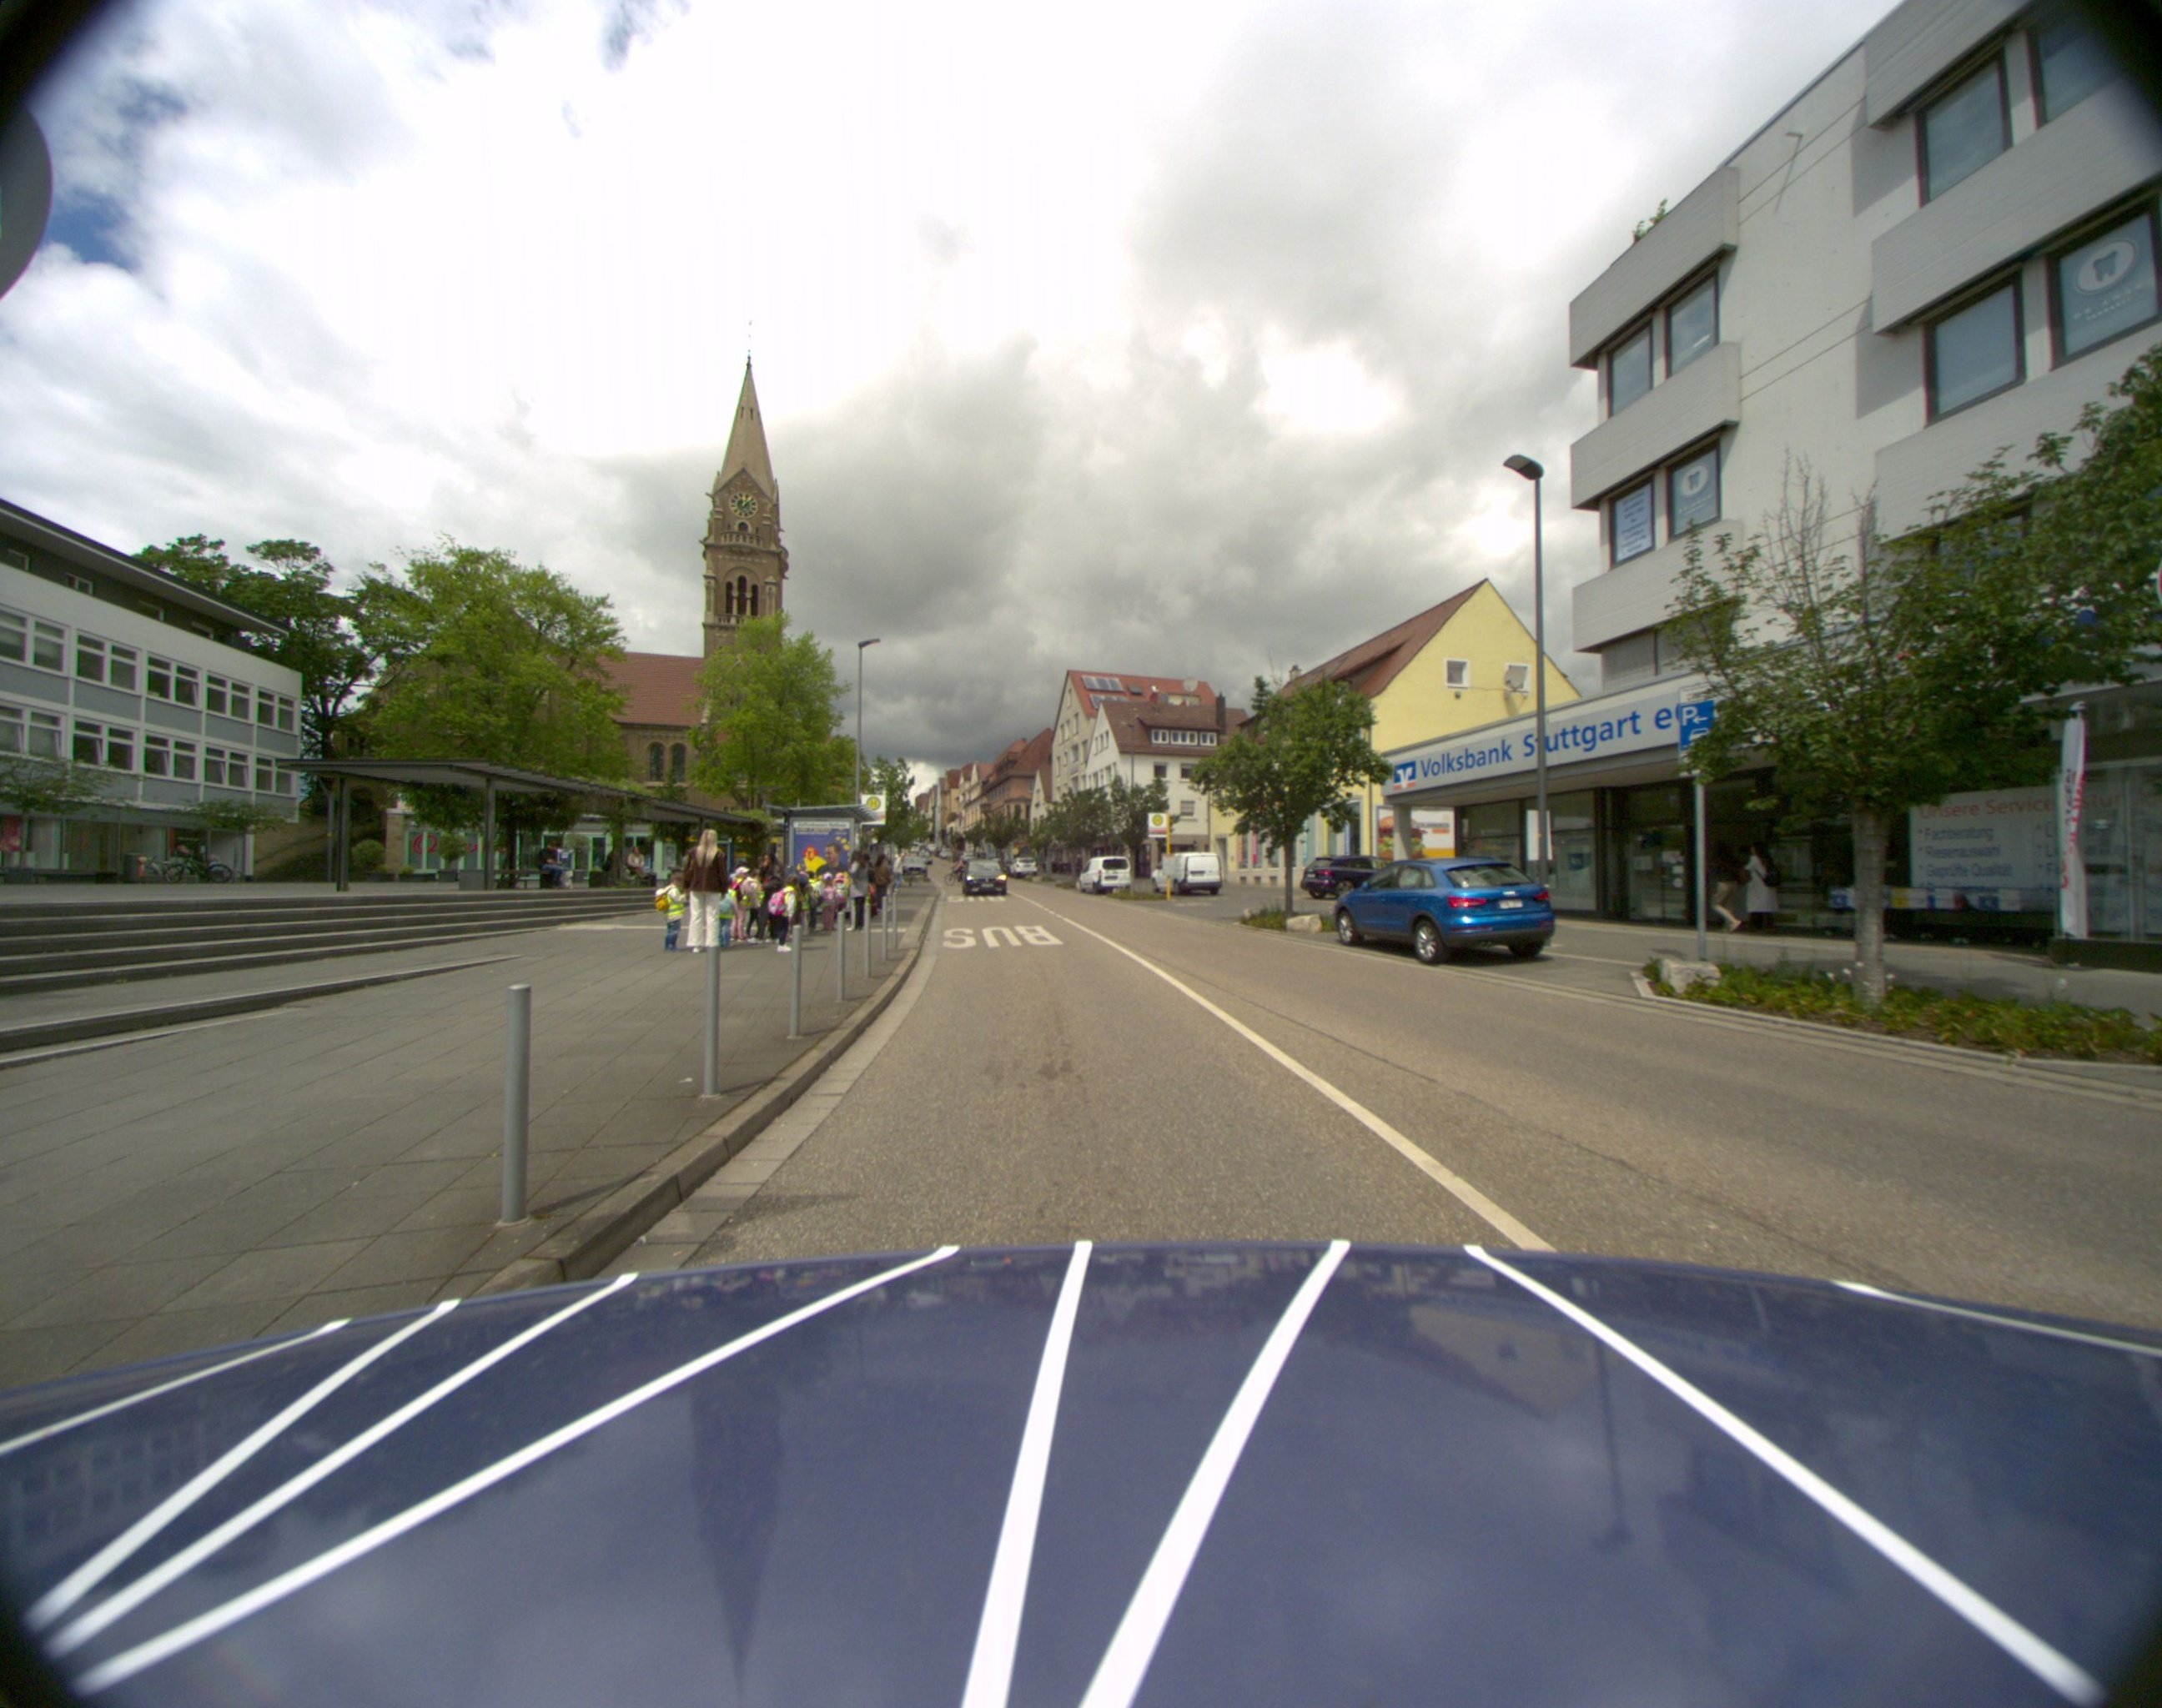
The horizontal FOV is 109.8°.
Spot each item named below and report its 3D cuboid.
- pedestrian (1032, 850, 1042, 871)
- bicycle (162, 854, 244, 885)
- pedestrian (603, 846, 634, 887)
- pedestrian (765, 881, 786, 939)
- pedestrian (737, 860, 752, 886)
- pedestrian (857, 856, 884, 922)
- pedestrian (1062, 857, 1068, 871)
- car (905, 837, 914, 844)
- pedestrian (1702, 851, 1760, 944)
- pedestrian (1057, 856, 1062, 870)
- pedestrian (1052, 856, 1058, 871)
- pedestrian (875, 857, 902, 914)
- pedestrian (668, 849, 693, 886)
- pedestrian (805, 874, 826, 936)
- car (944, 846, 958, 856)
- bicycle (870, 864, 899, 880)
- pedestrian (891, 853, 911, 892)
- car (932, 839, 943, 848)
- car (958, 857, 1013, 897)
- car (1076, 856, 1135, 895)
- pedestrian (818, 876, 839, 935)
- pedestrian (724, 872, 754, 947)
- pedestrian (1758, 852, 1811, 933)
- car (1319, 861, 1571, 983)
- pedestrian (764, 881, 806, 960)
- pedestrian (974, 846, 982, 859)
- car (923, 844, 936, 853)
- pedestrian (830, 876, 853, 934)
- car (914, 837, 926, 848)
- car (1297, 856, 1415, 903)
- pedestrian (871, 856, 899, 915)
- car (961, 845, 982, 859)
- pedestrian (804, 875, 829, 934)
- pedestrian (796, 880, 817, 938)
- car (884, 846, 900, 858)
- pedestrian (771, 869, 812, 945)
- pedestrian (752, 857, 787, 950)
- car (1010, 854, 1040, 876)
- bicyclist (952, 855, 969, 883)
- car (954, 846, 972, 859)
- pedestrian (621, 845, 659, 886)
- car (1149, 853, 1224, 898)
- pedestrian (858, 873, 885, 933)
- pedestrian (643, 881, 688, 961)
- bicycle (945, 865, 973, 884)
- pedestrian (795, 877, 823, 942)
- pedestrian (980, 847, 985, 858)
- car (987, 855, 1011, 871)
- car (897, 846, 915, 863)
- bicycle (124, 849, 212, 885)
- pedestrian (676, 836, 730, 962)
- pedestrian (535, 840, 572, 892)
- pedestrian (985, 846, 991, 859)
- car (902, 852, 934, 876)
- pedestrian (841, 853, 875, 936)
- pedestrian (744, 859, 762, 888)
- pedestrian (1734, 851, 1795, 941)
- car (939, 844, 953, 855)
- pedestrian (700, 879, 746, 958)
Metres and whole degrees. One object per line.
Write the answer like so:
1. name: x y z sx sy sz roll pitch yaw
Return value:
1. pedestrian: -3.846 0.562 66.451 0.663 1.751 0.776 -1 2 -17
2. bicycle: -34.804 0.638 30.160 2.032 1.135 0.686 4 -2 -43
3. pedestrian: -13.858 0.379 22.798 0.569 1.220 0.566 -1 0 -1
4. pedestrian: -5.666 1.031 14.101 0.251 1.062 0.252 2 0 0
5. pedestrian: -14.229 0.821 32.107 0.477 1.082 0.368 1 -2 -6
6. pedestrian: -5.057 0.835 18.238 0.502 1.557 0.496 1 0 -31
7. pedestrian: -1.438 0.889 67.191 0.428 1.242 0.566 -1 1 -15
8. car: -39.541 -3.066 174.854 1.688 1.492 4.146 1 2 -16
9. pedestrian: 11.284 0.733 13.206 0.643 1.557 0.588 1 0 29
10. pedestrian: -1.939 0.820 68.621 0.396 1.242 0.499 -1 1 -15
11. pedestrian: -2.258 0.802 67.009 0.423 1.292 0.453 -1 1 -15
12. pedestrian: -5.292 0.848 20.932 0.513 1.540 0.488 1 0 16
13. pedestrian: -14.237 0.478 27.013 0.626 1.300 0.546 1 0 -6
14. pedestrian: -5.124 0.985 14.680 0.250 1.167 0.253 2 0 38
15. car: -19.041 -0.428 111.156 1.734 1.423 3.497 0 2 -16
16. bicycle: -12.735 1.149 49.273 1.734 0.990 0.345 1 0 -19
17. pedestrian: -7.852 0.798 33.194 0.686 1.672 0.714 0 0 0
18. car: -25.578 -1.929 135.287 1.692 1.516 3.523 0 2 -16
19. car: -4.353 1.002 34.307 1.897 1.516 3.729 -1 2 -16
20. car: 1.081 0.952 35.917 1.662 1.662 4.345 -1 0 -14
21. pedestrian: -4.986 1.010 14.996 0.270 1.154 0.265 2 0 41
22. pedestrian: -5.763 0.933 12.810 0.324 1.230 0.334 2 0 -7
23. pedestrian: 15.153 0.828 16.376 0.645 1.694 0.586 1 -2 -20
24. car: 5.832 0.971 12.872 1.700 1.590 4.328 -3 0 -8
25. pedestrian: -4.565 1.014 11.714 0.477 1.165 0.389 2 0 -39
26. pedestrian: -13.417 -0.153 98.530 0.874 1.657 0.905 -1 2 -18
27. car: -22.984 -0.869 115.092 1.613 1.380 3.624 1 0 -14
28. pedestrian: -4.828 1.022 15.309 0.297 1.145 0.294 2 0 38
29. car: -28.449 -1.982 133.967 1.753 1.792 4.205 2 1 -15
30. car: 9.849 0.885 27.300 3.640 1.549 1.666 -1 1 -12
31. pedestrian: -5.257 0.828 20.374 0.542 1.540 0.487 1 0 34
32. car: -13.126 -0.286 91.089 1.732 1.564 4.446 0 2 -18
33. pedestrian: -5.292 1.005 15.191 0.321 1.145 0.319 2 0 40
34. pedestrian: -5.193 1.034 14.357 0.252 1.062 0.251 2 0 6
35. car: -26.506 -0.319 106.446 1.819 1.439 3.938 3 1 -17
36. pedestrian: -5.191 0.941 13.631 0.434 1.296 0.597 2 1 -44
37. pedestrian: -5.169 0.809 12.627 0.390 1.508 0.389 2 0 -4
38. car: -4.441 0.842 59.595 1.671 1.637 4.128 -1 1 -13
39. bicyclist: -7.262 0.918 45.789 0.508 1.684 0.780 0 -3 45
40. car: -15.280 -0.167 98.202 1.671 1.518 3.956 -2 2 -18
41. pedestrian: -13.724 0.361 23.663 0.769 1.262 0.677 -1 0 23
42. car: 4.573 0.876 33.500 1.762 1.803 4.471 -2 1 -13
43. pedestrian: -4.358 1.017 15.803 0.403 1.219 0.388 1 0 12
44. pedestrian: -6.124 0.980 11.215 0.440 1.141 0.383 2 0 -7
45. bicycle: -7.331 1.240 45.753 1.658 1.081 0.412 4 2 -44
46. pedestrian: -5.040 1.019 14.057 0.336 1.160 0.350 2 1 -42
47. pedestrian: -12.585 -0.217 97.268 0.497 1.469 0.527 -1 2 -18
48. car: -8.126 0.828 75.027 1.663 1.384 4.436 0 2 -15
49. car: -20.784 0.054 90.147 1.892 1.837 5.023 1 2 -11
50. bicycle: -34.498 0.515 28.750 2.032 1.299 0.686 3 -2 -43
51. pedestrian: -5.613 0.658 11.307 0.541 1.812 0.435 2 0 -4
52. pedestrian: -13.659 0.306 19.674 0.569 1.316 0.545 -1 0 -1
53. pedestrian: -11.920 -0.219 97.128 0.616 1.573 0.641 -1 2 -18
54. car: -12.240 0.717 56.839 1.936 1.714 4.566 1 0 -16
55. pedestrian: -4.460 0.798 15.182 0.387 1.610 0.470 2 0 38
56. pedestrian: -14.109 0.850 32.695 0.570 1.254 0.541 1 -2 -6
57. pedestrian: 12.058 0.730 13.405 0.511 1.557 0.586 1 0 -10
58. car: -20.941 -0.709 118.160 1.734 1.670 3.985 0 2 -16
59. pedestrian: -5.599 0.993 11.889 0.390 1.191 0.512 2 0 15
